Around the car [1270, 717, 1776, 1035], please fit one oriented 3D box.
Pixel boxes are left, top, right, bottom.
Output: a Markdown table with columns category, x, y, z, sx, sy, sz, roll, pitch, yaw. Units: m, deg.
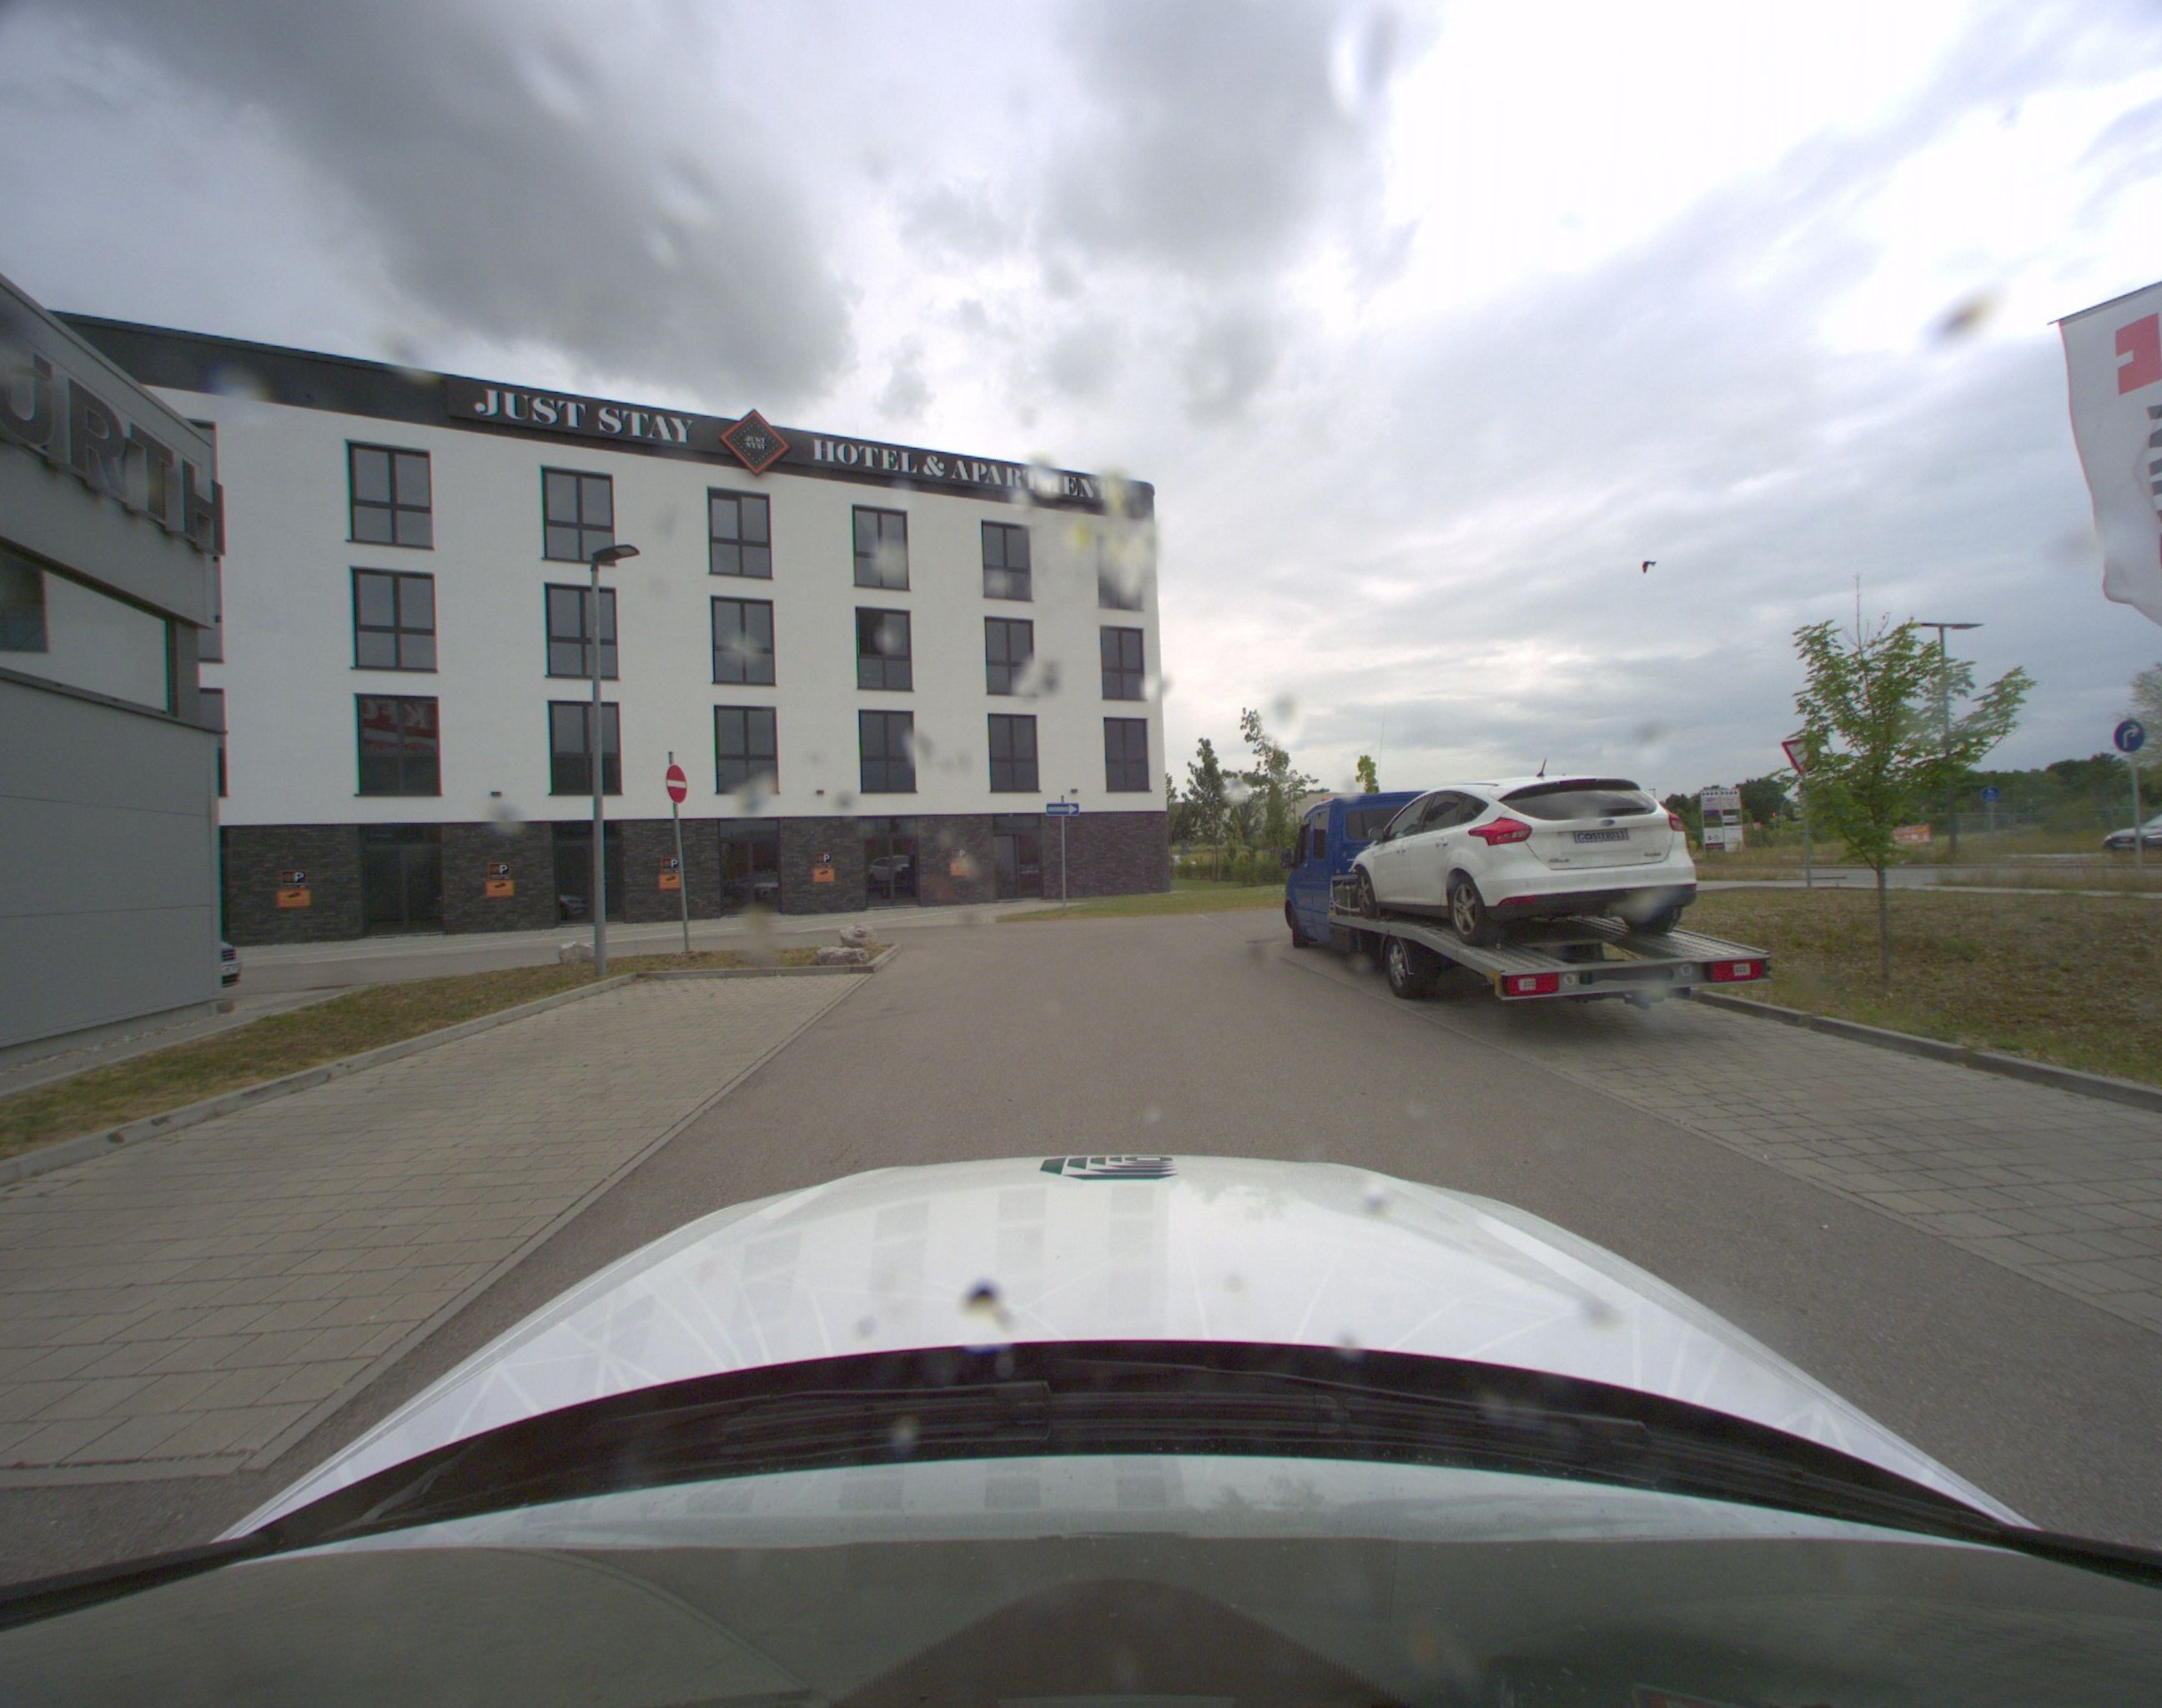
| category | x | y | z | sx | sy | sz | roll | pitch | yaw |
| --- | --- | --- | --- | --- | --- | --- | --- | --- | --- |
| car | 4.236 | 0.196 | 10.084 | 2.185 | 2.322 | 7.861 | -2 | -1 | 2 |

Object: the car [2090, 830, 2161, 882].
| category | x | y | z | sx | sy | sz | roll | pitch | yaw |
| --- | --- | --- | --- | --- | --- | --- | --- | --- | --- |
| car | 33.896 | -0.008 | 24.784 | 4.295 | 1.466 | 1.796 | -2 | 0 | -2 |

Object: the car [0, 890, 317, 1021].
| category | x | y | z | sx | sy | sz | roll | pitch | yaw |
| --- | --- | --- | --- | --- | --- | --- | --- | --- | --- |
| car | -13.683 | 1.337 | 10.798 | 4.767 | 1.492 | 1.969 | -2 | -2 | -17 |
